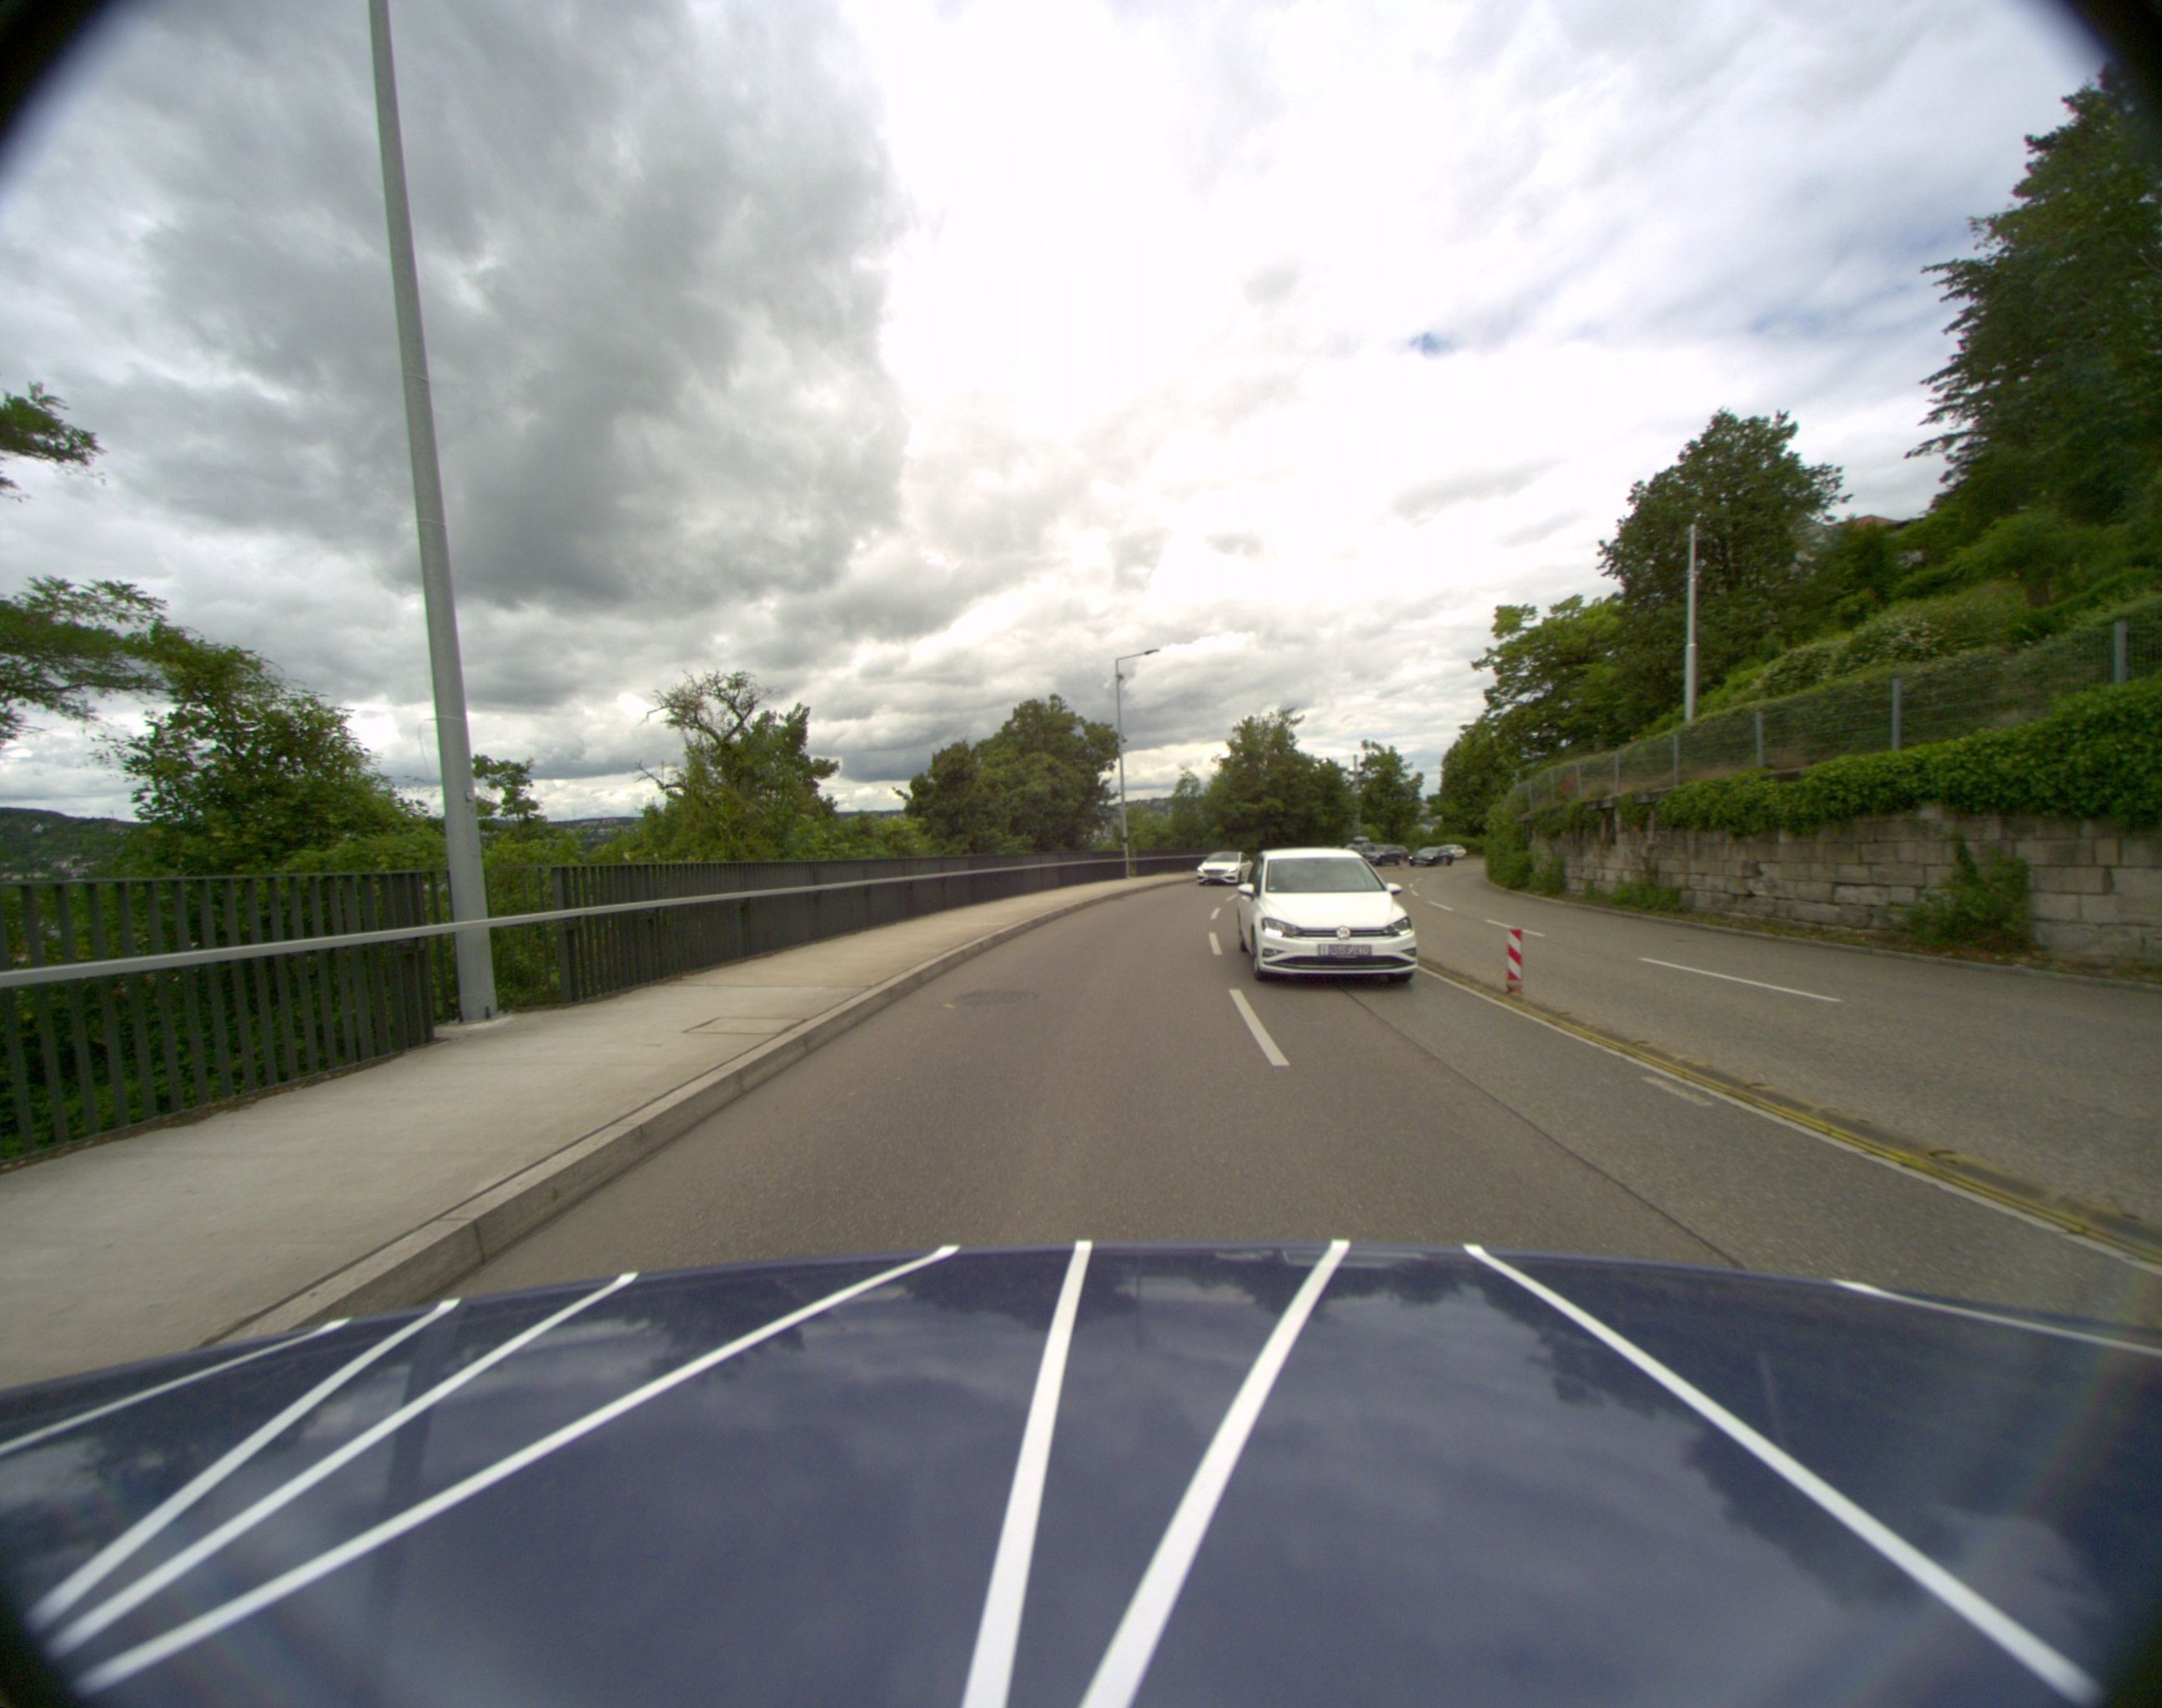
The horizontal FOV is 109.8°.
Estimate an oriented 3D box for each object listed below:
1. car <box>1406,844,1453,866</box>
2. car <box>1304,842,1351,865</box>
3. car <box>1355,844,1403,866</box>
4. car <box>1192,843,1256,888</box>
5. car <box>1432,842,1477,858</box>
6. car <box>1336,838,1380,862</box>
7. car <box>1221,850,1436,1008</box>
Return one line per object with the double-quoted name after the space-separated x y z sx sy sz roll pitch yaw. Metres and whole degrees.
26.638 0.058 58.049 1.920 1.485 4.149 0 3 45 "car"
18.830 -0.060 57.870 1.693 1.514 3.926 10 6 44 "car"
22.912 0.063 58.348 1.896 1.485 4.149 0 3 45 "car"
6.381 0.451 33.492 1.995 1.709 4.005 2 3 22 "car"
36.137 -0.409 73.511 4.006 1.425 1.929 -1 2 -30 "car"
22.689 -0.330 62.065 1.693 1.822 4.413 4 4 43 "car"
2.961 0.761 10.087 1.824 1.571 4.357 1 1 6 "car"
